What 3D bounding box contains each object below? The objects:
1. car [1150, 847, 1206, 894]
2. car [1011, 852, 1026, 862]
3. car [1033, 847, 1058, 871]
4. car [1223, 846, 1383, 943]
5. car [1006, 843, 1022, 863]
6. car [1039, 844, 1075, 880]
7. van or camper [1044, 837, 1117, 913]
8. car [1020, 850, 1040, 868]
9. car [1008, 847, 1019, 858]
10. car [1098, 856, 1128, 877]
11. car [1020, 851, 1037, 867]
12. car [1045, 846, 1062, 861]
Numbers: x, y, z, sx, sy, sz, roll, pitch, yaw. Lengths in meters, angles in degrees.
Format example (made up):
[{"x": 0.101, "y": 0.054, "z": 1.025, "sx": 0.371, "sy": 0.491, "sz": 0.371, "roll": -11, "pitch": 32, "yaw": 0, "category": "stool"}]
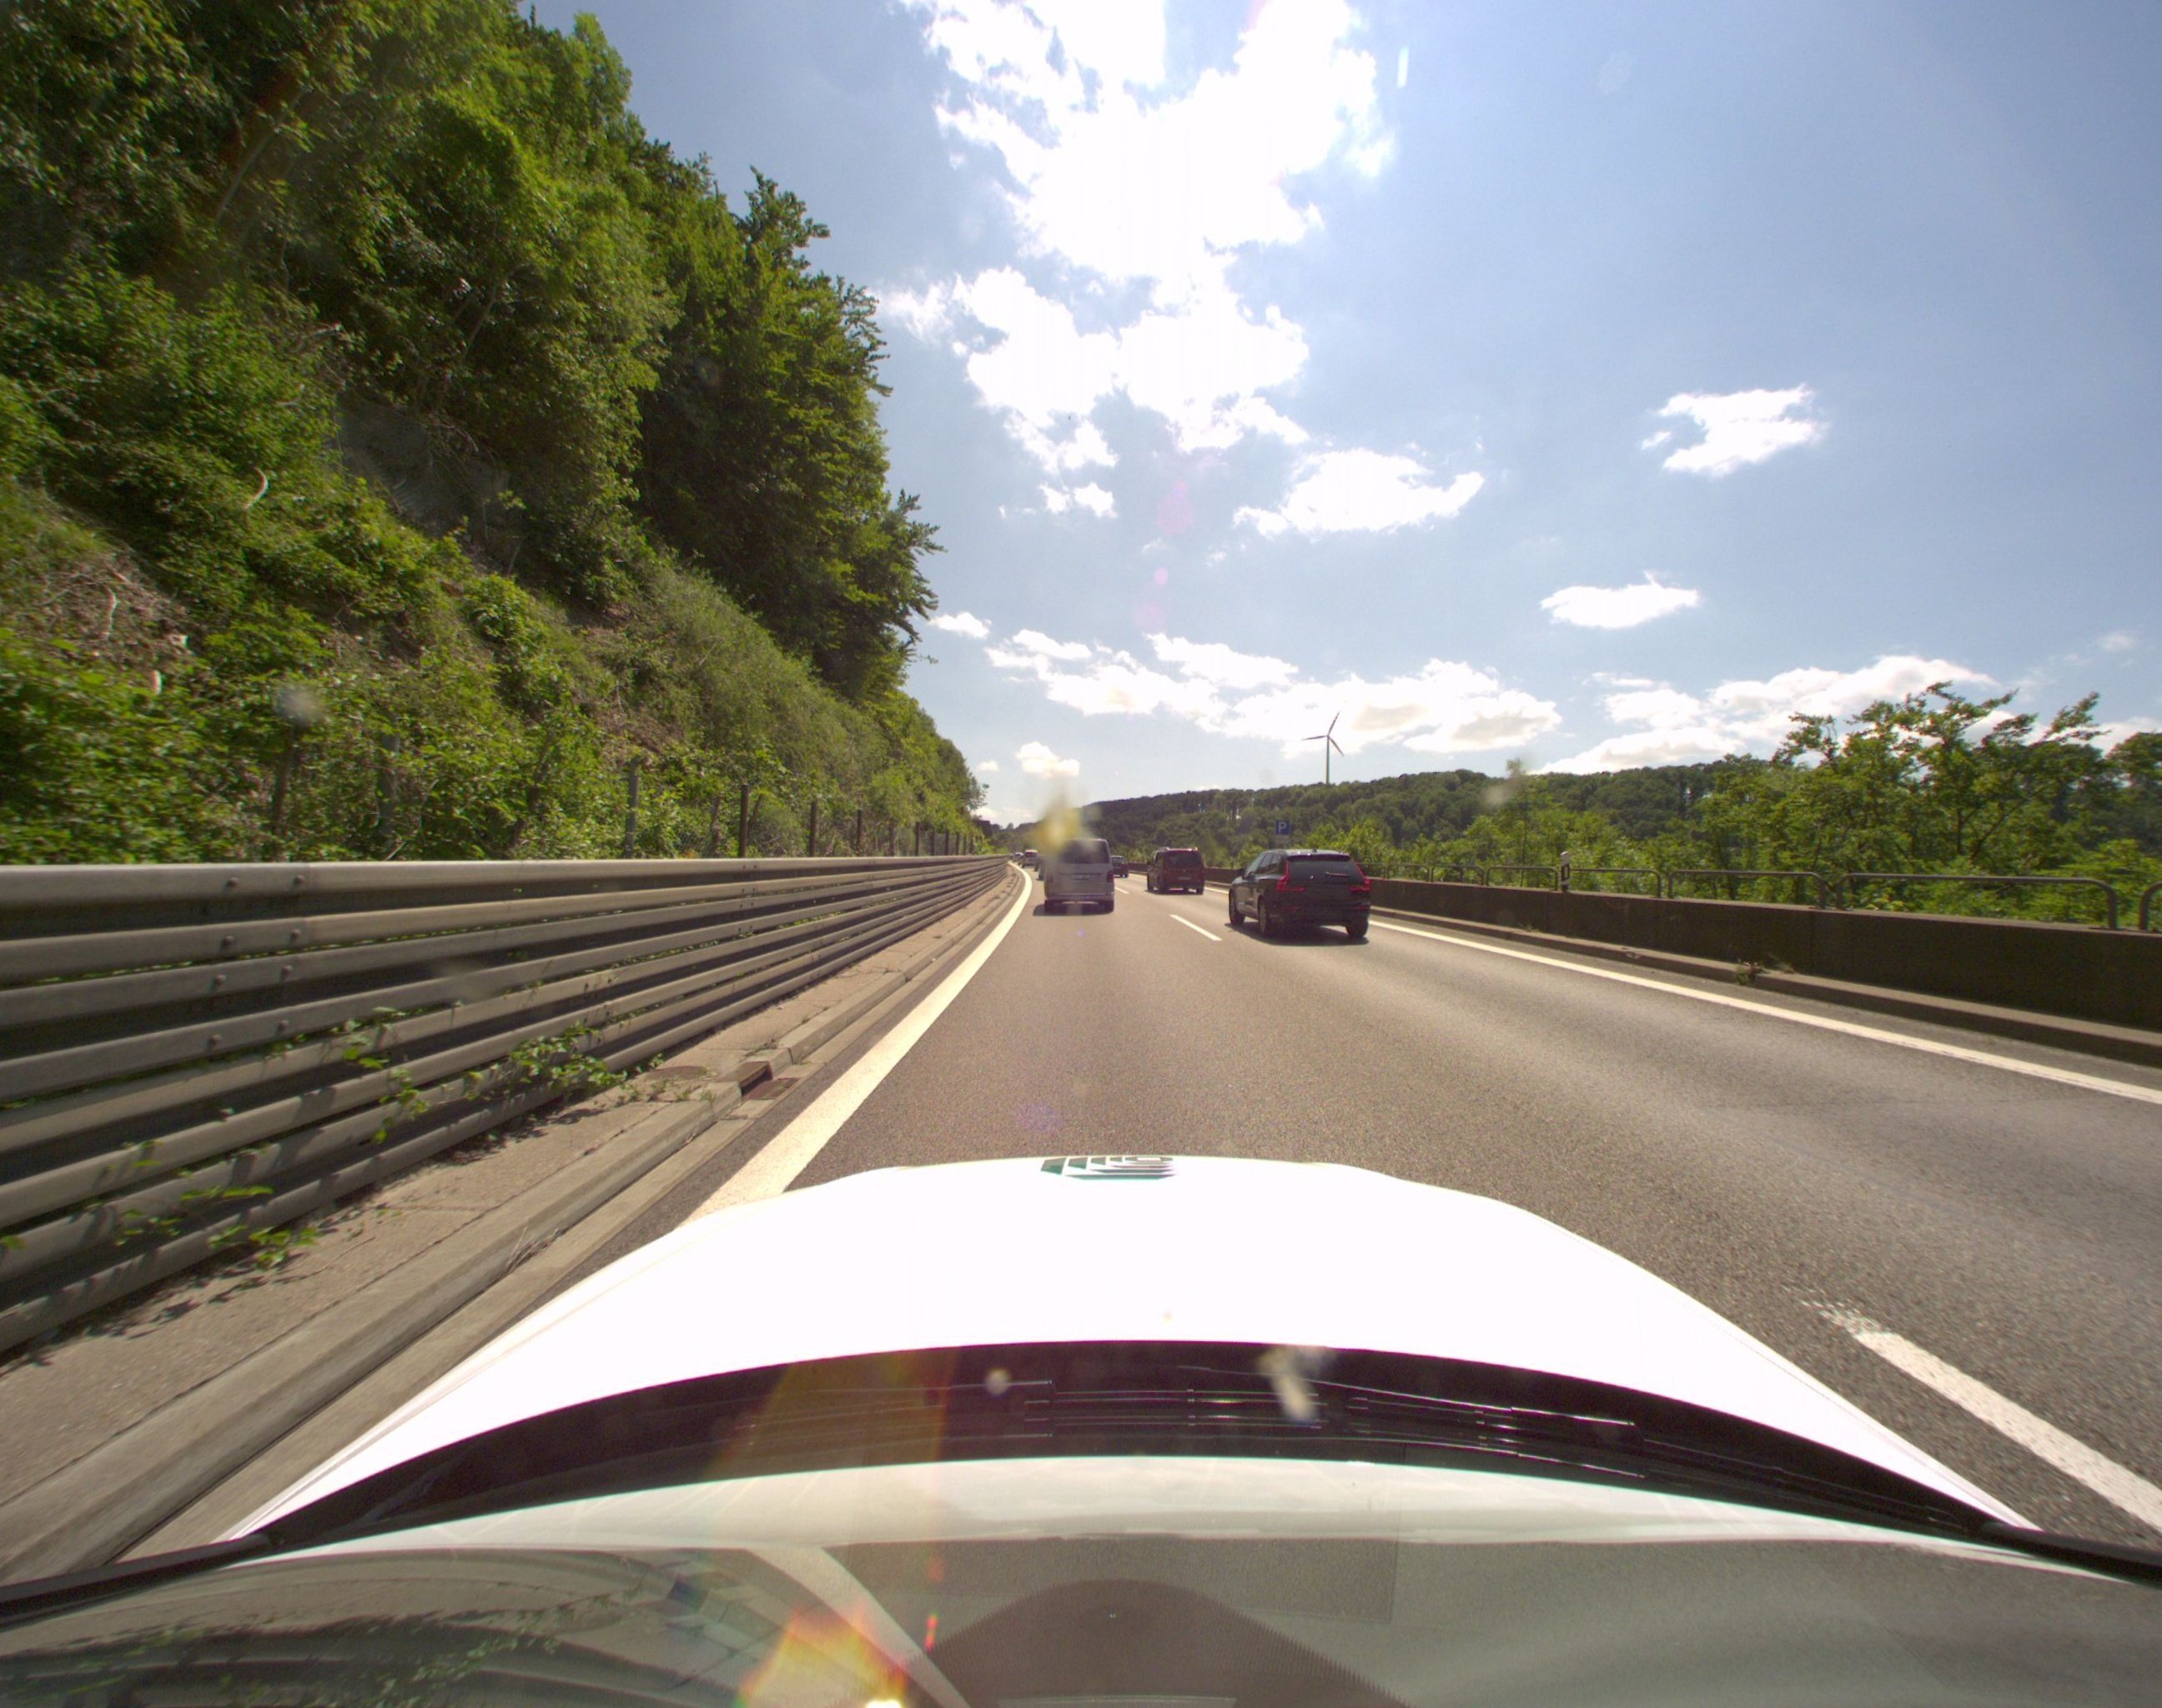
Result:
[{"x": 3.923, "y": 0.671, "z": 33.605, "sx": 1.827, "sy": 1.784, "sz": 4.676, "roll": -1, "pitch": -1, "yaw": 1, "category": "car"}, {"x": -10.193, "y": 0.504, "z": 132.652, "sx": 2.140, "sy": 1.607, "sz": 5.066, "roll": 1, "pitch": 0, "yaw": -7, "category": "car"}, {"x": -3.108, "y": 0.453, "z": 70.805, "sx": 1.991, "sy": 2.014, "sz": 3.992, "roll": 0, "pitch": -1, "yaw": -6, "category": "car"}, {"x": 4.192, "y": 0.687, "z": 16.203, "sx": 1.829, "sy": 1.633, "sz": 4.660, "roll": -1, "pitch": 0, "yaw": -1, "category": "car"}, {"x": -17.334, "y": -0.285, "z": 211.177, "sx": 4.035, "sy": 4.871, "sz": 10.095, "roll": -1, "pitch": 0, "yaw": -4, "category": "car"}, {"x": -1.459, "y": 0.483, "z": 48.167, "sx": 1.989, "sy": 2.014, "sz": 3.996, "roll": 0, "pitch": 0, "yaw": -3, "category": "car"}, {"x": -0.114, "y": 0.565, "z": 23.095, "sx": 1.871, "sy": 1.949, "sz": 4.289, "roll": 0, "pitch": -1, "yaw": -3, "category": "van or camper"}, {"x": -5.413, "y": 0.506, "z": 85.950, "sx": 1.990, "sy": 1.817, "sz": 3.993, "roll": 1, "pitch": 0, "yaw": -5, "category": "car"}, {"x": -13.220, "y": -0.239, "z": 159.035, "sx": 1.991, "sy": 2.014, "sz": 3.992, "roll": 0, "pitch": -1, "yaw": -6, "category": "car"}, {"x": 2.140, "y": 0.817, "z": 55.186, "sx": 1.764, "sy": 1.376, "sz": 3.589, "roll": -1, "pitch": 0, "yaw": -2, "category": "car"}, {"x": -6.554, "y": 0.641, "z": 101.057, "sx": 1.991, "sy": 1.915, "sz": 3.992, "roll": 1, "pitch": 0, "yaw": -6, "category": "car"}, {"x": -3.857, "y": -0.089, "z": 114.350, "sx": 1.993, "sy": 2.014, "sz": 3.988, "roll": 0, "pitch": -1, "yaw": -9, "category": "car"}]
